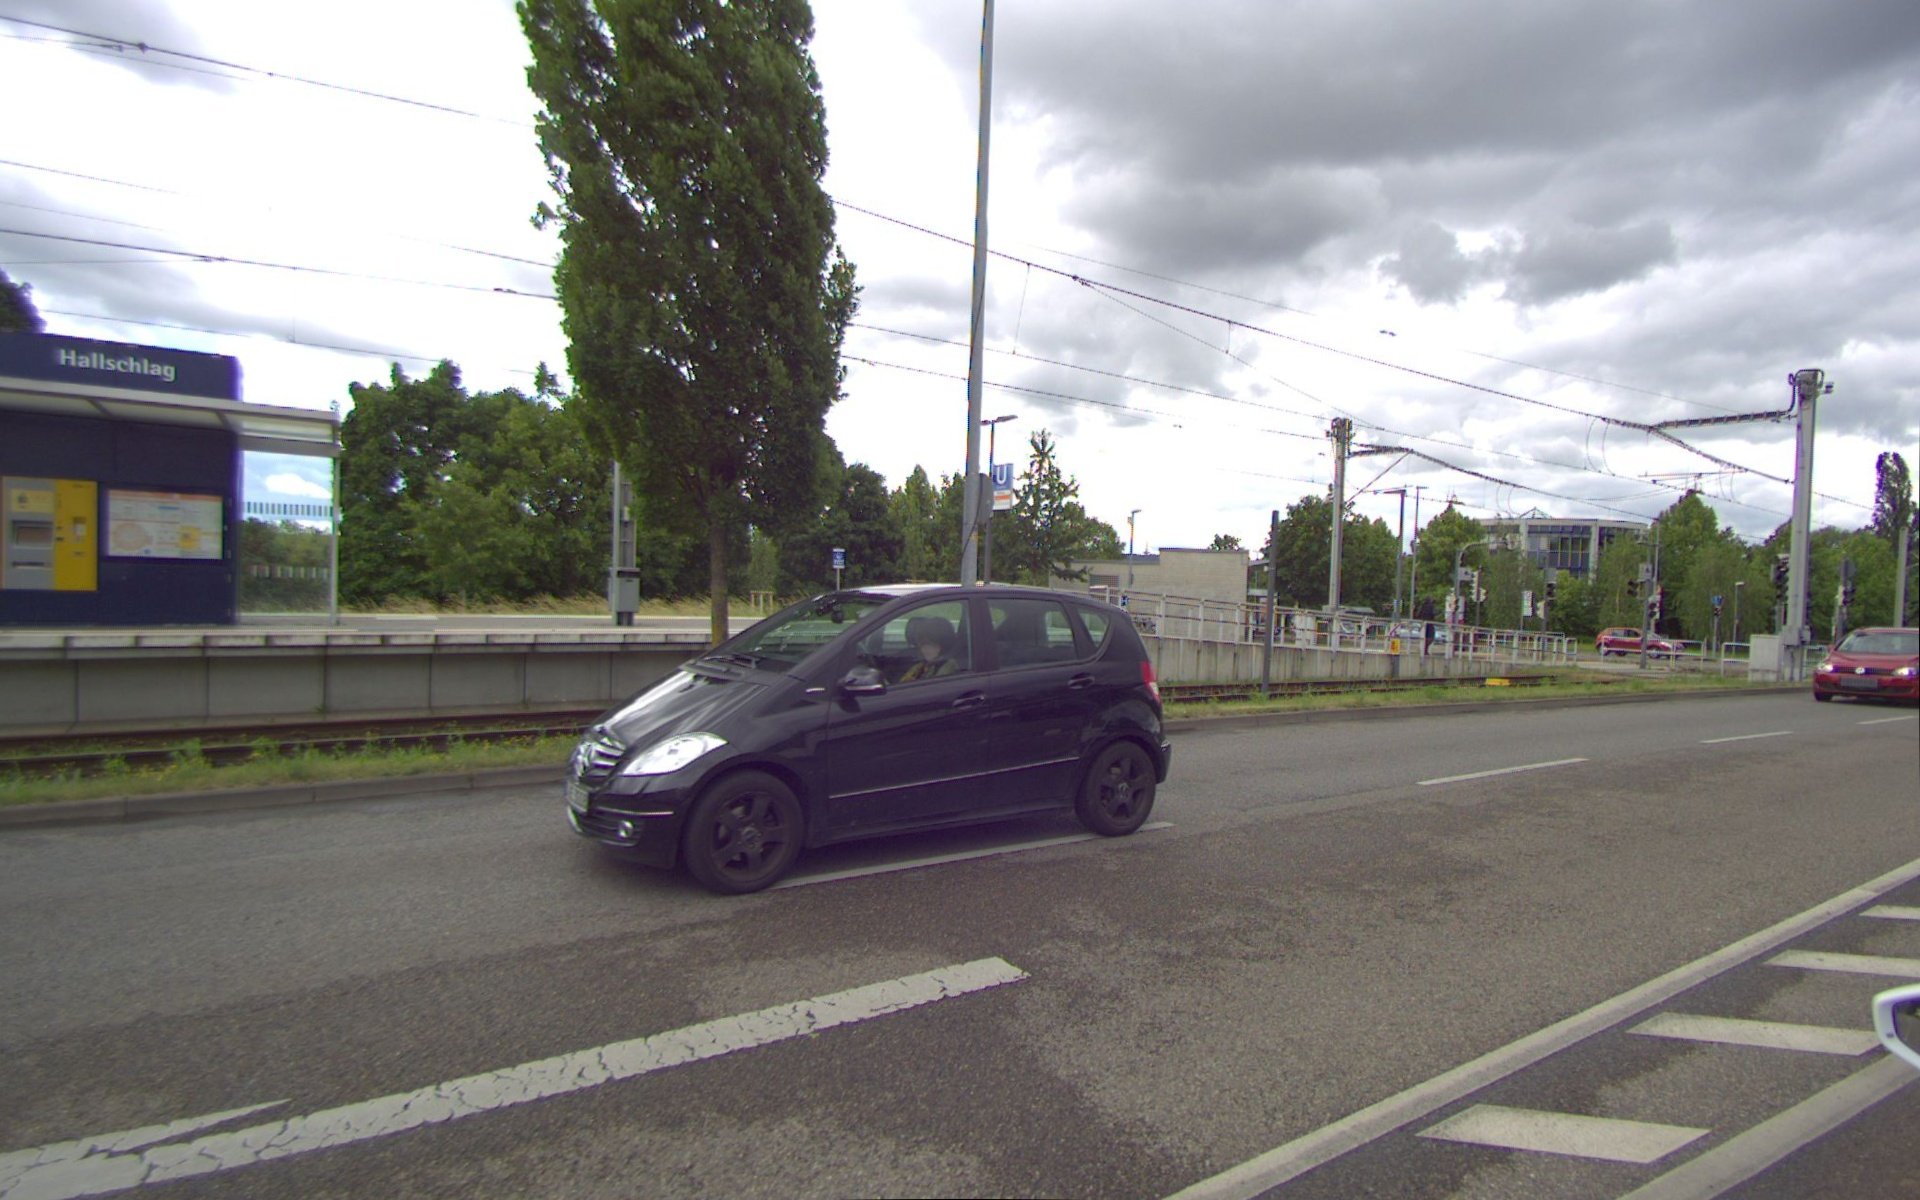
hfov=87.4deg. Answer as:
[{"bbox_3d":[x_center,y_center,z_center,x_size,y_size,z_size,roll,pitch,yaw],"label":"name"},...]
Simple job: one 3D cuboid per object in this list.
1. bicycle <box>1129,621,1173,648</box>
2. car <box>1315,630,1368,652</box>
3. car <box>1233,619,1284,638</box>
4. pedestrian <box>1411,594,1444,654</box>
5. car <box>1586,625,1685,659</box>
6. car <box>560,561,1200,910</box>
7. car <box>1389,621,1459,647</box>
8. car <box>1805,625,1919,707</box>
[{"bbox_3d":[7.937,1.425,41.762,1.762,1.029,0.411,2,0,18],"label":"bicycle"},{"bbox_3d":[25.940,2.794,68.346,1.530,1.327,3.276,2,-1,-22],"label":"car"},{"bbox_3d":[22.768,2.172,76.735,1.698,1.327,3.729,2,0,-22],"label":"car"},{"bbox_3d":[14.625,0.758,31.417,0.785,1.852,0.568,1,0,-33],"label":"pedestrian"},{"bbox_3d":[35.425,2.178,52.758,1.710,1.536,3.973,3,-1,-26],"label":"car"},{"bbox_3d":[-0.398,0.666,6.363,3.670,1.594,1.714,2,-1,-35],"label":"car"},{"bbox_3d":[28.611,2.083,62.005,1.496,1.395,3.979,2,0,-22],"label":"car"},{"bbox_3d":[19.248,1.295,20.778,4.045,1.508,1.692,1,-1,-34],"label":"car"}]
